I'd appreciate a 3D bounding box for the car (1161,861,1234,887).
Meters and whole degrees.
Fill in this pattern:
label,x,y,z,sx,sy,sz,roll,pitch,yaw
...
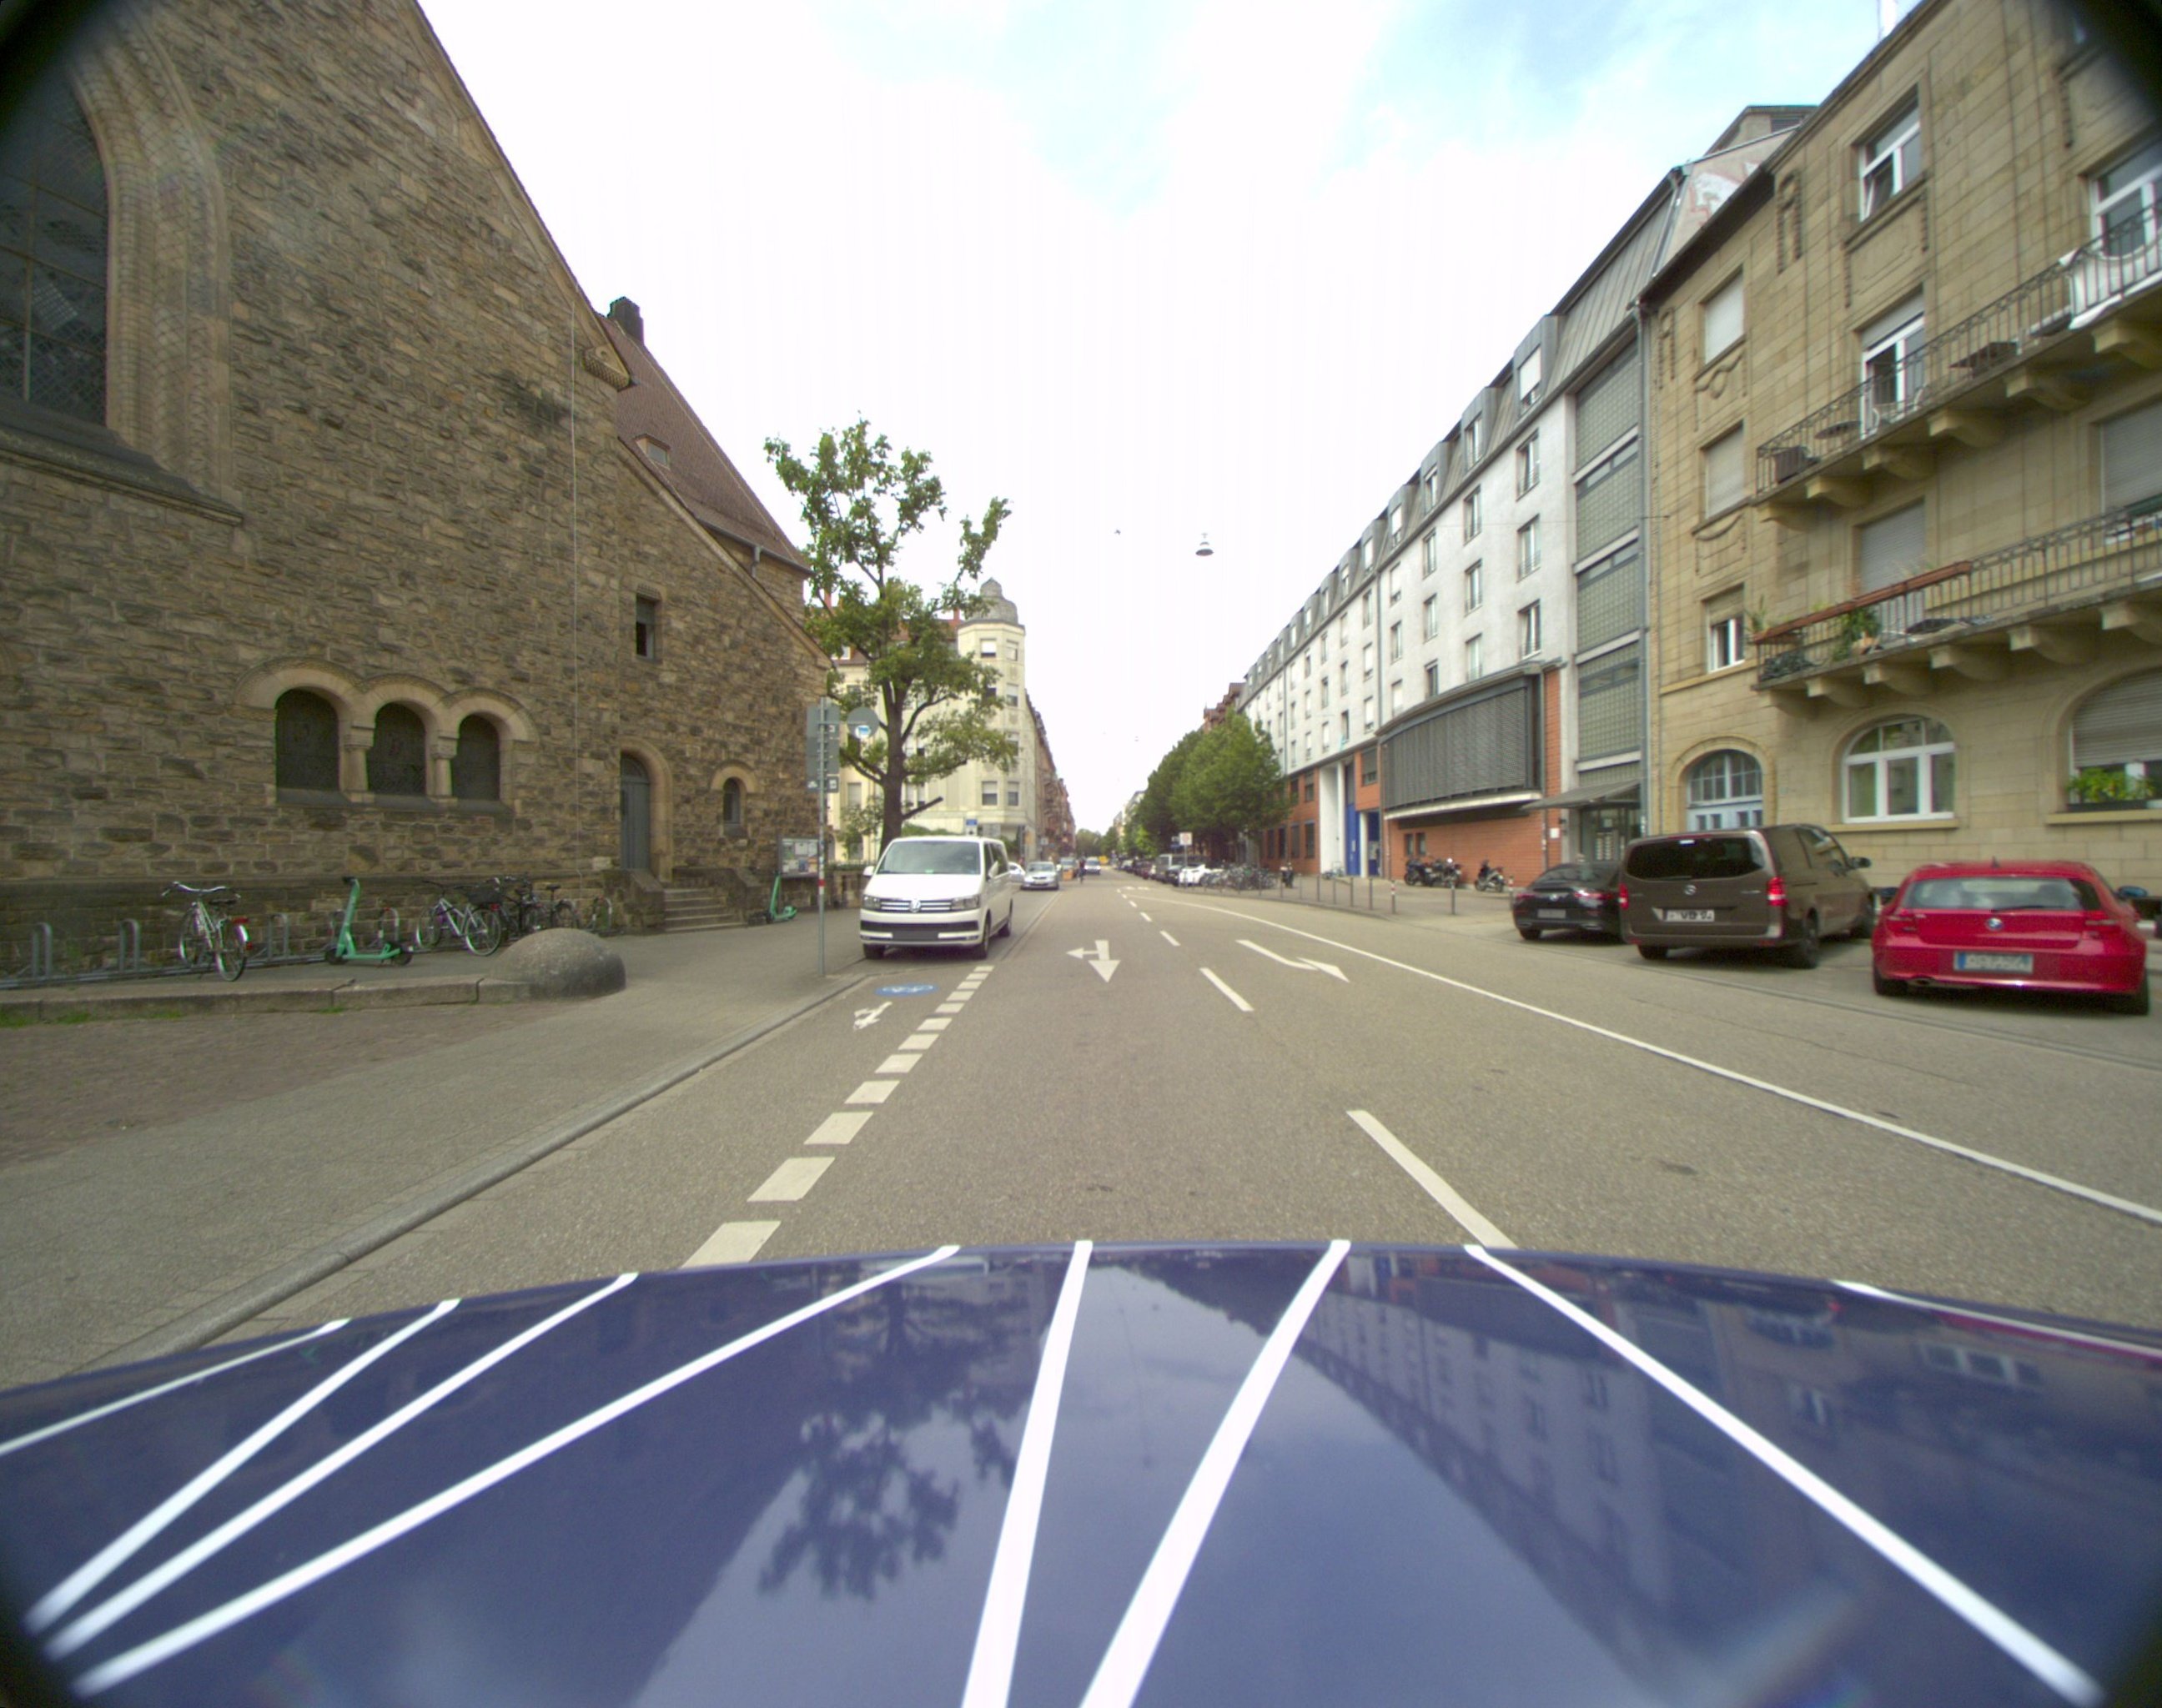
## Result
label,x,y,z,sx,sy,sz,roll,pitch,yaw
car,7.098,1.185,46.092,4.324,1.460,1.713,-1,0,-33

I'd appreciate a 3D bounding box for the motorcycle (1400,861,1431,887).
label,x,y,z,sx,sy,sz,roll,pitch,yaw
motorcycle,14.284,0.837,32.481,0.585,1.042,1.657,-2,0,-1

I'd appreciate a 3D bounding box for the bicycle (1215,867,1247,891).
label,x,y,z,sx,sy,sz,roll,pitch,yaw
bicycle,7.111,1.183,36.030,1.409,1.032,0.402,-3,0,3

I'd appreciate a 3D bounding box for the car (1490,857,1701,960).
label,x,y,z,sx,sy,sz,roll,pitch,yaw
car,9.869,0.924,14.430,4.679,1.401,1.895,-4,0,-38

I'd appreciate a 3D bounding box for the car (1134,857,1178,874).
label,x,y,z,sx,sy,sz,roll,pitch,yaw
car,7.265,1.143,73.392,4.012,1.558,1.687,-1,-1,-33

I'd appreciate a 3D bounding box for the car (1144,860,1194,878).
label,x,y,z,sx,sy,sz,roll,pitch,yaw
car,7.317,1.224,63.154,4.012,1.381,1.593,-1,-1,-33

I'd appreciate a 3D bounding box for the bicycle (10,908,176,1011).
label,x,y,z,sx,sy,sz,roll,pitch,yaw
bicycle,-10.509,1.084,8.080,1.778,0.951,0.547,0,0,20

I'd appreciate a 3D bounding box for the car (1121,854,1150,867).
label,x,y,z,sx,sy,sz,roll,pitch,yaw
car,8.141,0.955,113.719,4.012,1.746,1.687,-1,-1,-33

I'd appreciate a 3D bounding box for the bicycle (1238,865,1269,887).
label,x,y,z,sx,sy,sz,roll,pitch,yaw
bicycle,8.553,1.089,37.658,1.409,1.020,0.402,-2,0,3

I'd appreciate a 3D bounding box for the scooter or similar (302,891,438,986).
label,x,y,z,sx,sy,sz,roll,pitch,yaw
scooter or similar,-9.407,1.084,10.050,1.778,1.133,0.547,0,0,20

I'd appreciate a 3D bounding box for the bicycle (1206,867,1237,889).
label,x,y,z,sx,sy,sz,roll,pitch,yaw
bicycle,7.018,1.187,38.033,1.409,1.032,0.402,-3,0,3

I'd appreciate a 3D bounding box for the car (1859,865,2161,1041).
label,x,y,z,sx,sy,sz,roll,pitch,yaw
car,10.086,0.858,8.296,4.020,1.401,1.792,-1,0,-38

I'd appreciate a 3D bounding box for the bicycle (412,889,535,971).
label,x,y,z,sx,sy,sz,roll,pitch,yaw
bicycle,-8.919,1.081,11.149,1.778,1.105,0.547,0,0,20

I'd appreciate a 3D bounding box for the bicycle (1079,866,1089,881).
label,x,y,z,sx,sy,sz,roll,pitch,yaw
bicycle,0.187,1.298,50.575,0.586,0.927,1.783,-1,-1,2

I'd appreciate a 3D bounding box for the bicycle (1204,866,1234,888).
label,x,y,z,sx,sy,sz,roll,pitch,yaw
bicycle,7.021,1.174,38.675,1.409,1.020,0.402,-3,0,3

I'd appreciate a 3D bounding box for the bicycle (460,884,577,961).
label,x,y,z,sx,sy,sz,roll,pitch,yaw
bicycle,-8.688,1.026,11.722,1.771,1.105,0.547,0,0,20

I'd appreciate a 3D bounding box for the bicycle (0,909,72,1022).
label,x,y,z,sx,sy,sz,roll,pitch,yaw
bicycle,-10.793,1.063,7.464,1.778,0.952,0.547,2,1,20

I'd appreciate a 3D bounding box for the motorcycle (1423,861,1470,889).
label,x,y,z,sx,sy,sz,roll,pitch,yaw
motorcycle,14.438,0.823,30.061,0.585,1.042,1.965,-2,0,-10

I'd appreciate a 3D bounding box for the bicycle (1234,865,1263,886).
label,x,y,z,sx,sy,sz,roll,pitch,yaw
bicycle,8.477,1.107,38.477,1.409,1.020,0.402,-2,0,3

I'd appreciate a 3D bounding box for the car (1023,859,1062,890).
label,x,y,z,sx,sy,sz,roll,pitch,yaw
car,-1.931,1.010,38.949,1.759,1.459,4.419,0,0,0

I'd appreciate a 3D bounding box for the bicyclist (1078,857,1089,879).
label,x,y,z,sx,sy,sz,roll,pitch,yaw
bicyclist,0.155,0.924,50.561,0.649,1.408,1.094,-1,0,2

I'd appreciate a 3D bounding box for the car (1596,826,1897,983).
label,x,y,z,sx,sy,sz,roll,pitch,yaw
car,10.222,0.594,11.540,5.280,1.898,2.116,-1,0,-33

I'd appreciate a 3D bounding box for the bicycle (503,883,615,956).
label,x,y,z,sx,sy,sz,roll,pitch,yaw
bicycle,-8.479,1.040,12.339,1.778,1.105,0.547,0,0,20

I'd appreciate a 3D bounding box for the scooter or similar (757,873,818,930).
label,x,y,z,sx,sy,sz,roll,pitch,yaw
scooter or similar,-6.564,1.034,17.048,0.545,1.200,1.444,0,0,14

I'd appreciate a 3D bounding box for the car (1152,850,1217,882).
label,x,y,z,sx,sy,sz,roll,pitch,yaw
car,7.106,0.818,51.998,4.011,1.986,1.857,-2,1,-30

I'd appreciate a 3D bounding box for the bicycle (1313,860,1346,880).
label,x,y,z,sx,sy,sz,roll,pitch,yaw
bicycle,14.186,0.914,43.408,1.613,0.920,0.932,-6,-1,13

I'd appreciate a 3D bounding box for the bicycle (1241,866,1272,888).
label,x,y,z,sx,sy,sz,roll,pitch,yaw
bicycle,8.452,1.118,36.637,1.409,1.020,0.402,-2,0,3

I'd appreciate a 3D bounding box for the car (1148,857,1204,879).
label,x,y,z,sx,sy,sz,roll,pitch,yaw
car,7.232,1.046,57.571,4.012,1.605,1.708,-1,-1,-33

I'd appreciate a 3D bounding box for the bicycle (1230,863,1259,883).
label,x,y,z,sx,sy,sz,roll,pitch,yaw
bicycle,8.522,0.982,39.655,1.409,1.020,0.402,-2,0,3

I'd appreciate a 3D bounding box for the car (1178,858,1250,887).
label,x,y,z,sx,sy,sz,roll,pitch,yaw
car,7.669,1.055,43.712,4.013,1.536,1.598,-1,0,-33

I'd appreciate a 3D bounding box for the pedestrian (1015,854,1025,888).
label,x,y,z,sx,sy,sz,roll,pitch,yaw
pedestrian,-3.093,0.877,38.835,0.468,1.725,0.410,0,0,0

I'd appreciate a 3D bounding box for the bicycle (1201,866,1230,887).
label,x,y,z,sx,sy,sz,roll,pitch,yaw
bicycle,7.051,1.204,39.948,1.409,1.020,0.402,-3,0,3

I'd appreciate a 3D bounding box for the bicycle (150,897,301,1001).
label,x,y,z,sx,sy,sz,roll,pitch,yaw
bicycle,-10.059,1.079,8.928,1.778,1.105,0.547,0,0,20

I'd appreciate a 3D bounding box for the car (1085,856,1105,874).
label,x,y,z,sx,sy,sz,roll,pitch,yaw
car,1.611,1.203,84.483,1.942,1.913,4.008,-1,-1,5

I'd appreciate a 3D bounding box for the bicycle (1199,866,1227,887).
label,x,y,z,sx,sy,sz,roll,pitch,yaw
bicycle,7.065,1.193,40.756,1.409,1.020,0.402,-3,0,3

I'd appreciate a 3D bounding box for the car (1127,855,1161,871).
label,x,y,z,sx,sy,sz,roll,pitch,yaw
car,7.914,1.121,95.608,4.012,1.846,1.687,-1,-1,-33

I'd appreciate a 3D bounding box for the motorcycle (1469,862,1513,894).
label,x,y,z,sx,sy,sz,roll,pitch,yaw
motorcycle,14.199,0.816,26.360,0.585,1.042,1.794,-2,0,2

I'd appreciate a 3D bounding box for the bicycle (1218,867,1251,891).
label,x,y,z,sx,sy,sz,roll,pitch,yaw
bicycle,7.094,1.150,35.139,1.409,1.032,0.402,-3,0,3

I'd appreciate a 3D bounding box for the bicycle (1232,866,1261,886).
label,x,y,z,sx,sy,sz,roll,pitch,yaw
bicycle,8.482,1.122,38.962,1.409,1.020,0.402,-2,0,3

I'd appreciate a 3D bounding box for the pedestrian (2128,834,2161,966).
label,x,y,z,sx,sy,sz,roll,pitch,yaw
pedestrian,13.464,0.548,9.124,0.793,1.585,0.679,-3,1,1

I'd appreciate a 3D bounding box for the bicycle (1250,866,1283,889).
label,x,y,z,sx,sy,sz,roll,pitch,yaw
bicycle,8.643,1.084,35.391,1.409,1.020,0.402,-2,0,3

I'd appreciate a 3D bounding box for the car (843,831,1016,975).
label,x,y,z,sx,sy,sz,roll,pitch,yaw
car,-2.364,0.733,13.325,2.019,2.017,5.124,1,-1,0

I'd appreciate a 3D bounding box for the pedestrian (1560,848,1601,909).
label,x,y,z,sx,sy,sz,roll,pitch,yaw
pedestrian,12.338,0.593,18.777,0.662,1.477,0.508,-1,0,-13

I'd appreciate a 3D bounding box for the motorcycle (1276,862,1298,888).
label,x,y,z,sx,sy,sz,roll,pitch,yaw
motorcycle,9.740,0.980,35.939,0.585,1.166,1.780,-2,0,2

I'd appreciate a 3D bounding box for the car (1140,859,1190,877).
label,x,y,z,sx,sy,sz,roll,pitch,yaw
car,7.233,1.205,65.368,4.012,1.445,1.687,-1,-1,-33

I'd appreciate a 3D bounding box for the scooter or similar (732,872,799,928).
label,x,y,z,sx,sy,sz,roll,pitch,yaw
scooter or similar,-7.174,1.020,17.352,0.545,1.200,1.483,0,0,21

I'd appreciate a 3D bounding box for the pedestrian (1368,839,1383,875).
label,x,y,z,sx,sy,sz,roll,pitch,yaw
pedestrian,16.216,0.168,41.849,0.729,2.002,0.783,0,0,20

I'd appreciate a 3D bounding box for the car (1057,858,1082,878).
label,x,y,z,sx,sy,sz,roll,pitch,yaw
car,-0.978,1.198,67.122,1.853,1.661,4.008,-1,-1,5

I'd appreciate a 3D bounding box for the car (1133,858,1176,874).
label,x,y,z,sx,sy,sz,roll,pitch,yaw
car,7.387,1.181,76.161,4.012,1.558,1.687,-1,-1,-33

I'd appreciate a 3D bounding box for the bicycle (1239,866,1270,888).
label,x,y,z,sx,sy,sz,roll,pitch,yaw
bicycle,8.482,1.124,37.173,1.409,1.020,0.402,-2,0,3
